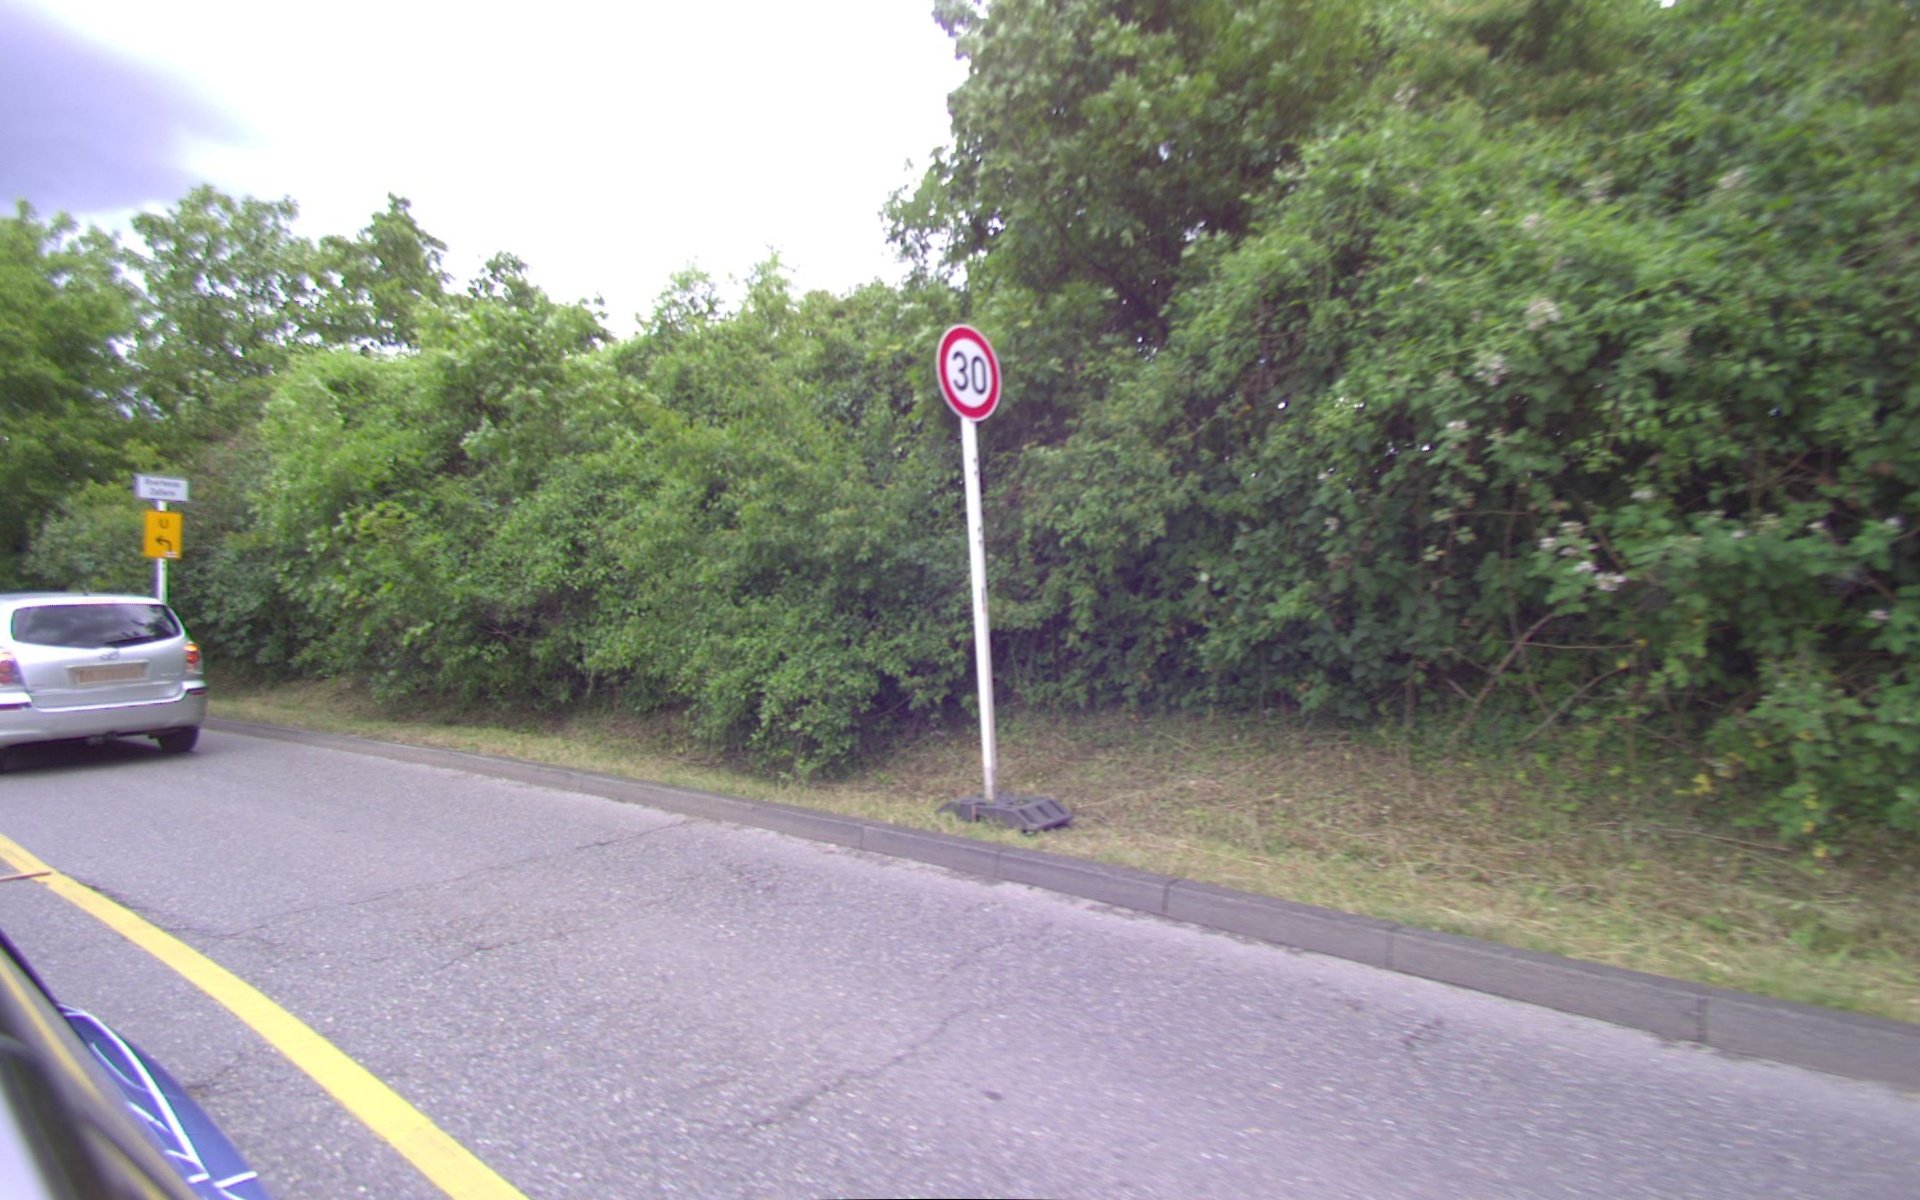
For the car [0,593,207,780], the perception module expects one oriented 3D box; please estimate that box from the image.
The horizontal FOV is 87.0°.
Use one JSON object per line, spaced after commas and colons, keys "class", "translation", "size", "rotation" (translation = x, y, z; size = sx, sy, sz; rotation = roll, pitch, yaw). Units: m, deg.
{"class": "car", "translation": [-9.429, 0.742, 10.185], "size": [4.174, 1.564, 1.643], "rotation": [-1, 0, 33]}
